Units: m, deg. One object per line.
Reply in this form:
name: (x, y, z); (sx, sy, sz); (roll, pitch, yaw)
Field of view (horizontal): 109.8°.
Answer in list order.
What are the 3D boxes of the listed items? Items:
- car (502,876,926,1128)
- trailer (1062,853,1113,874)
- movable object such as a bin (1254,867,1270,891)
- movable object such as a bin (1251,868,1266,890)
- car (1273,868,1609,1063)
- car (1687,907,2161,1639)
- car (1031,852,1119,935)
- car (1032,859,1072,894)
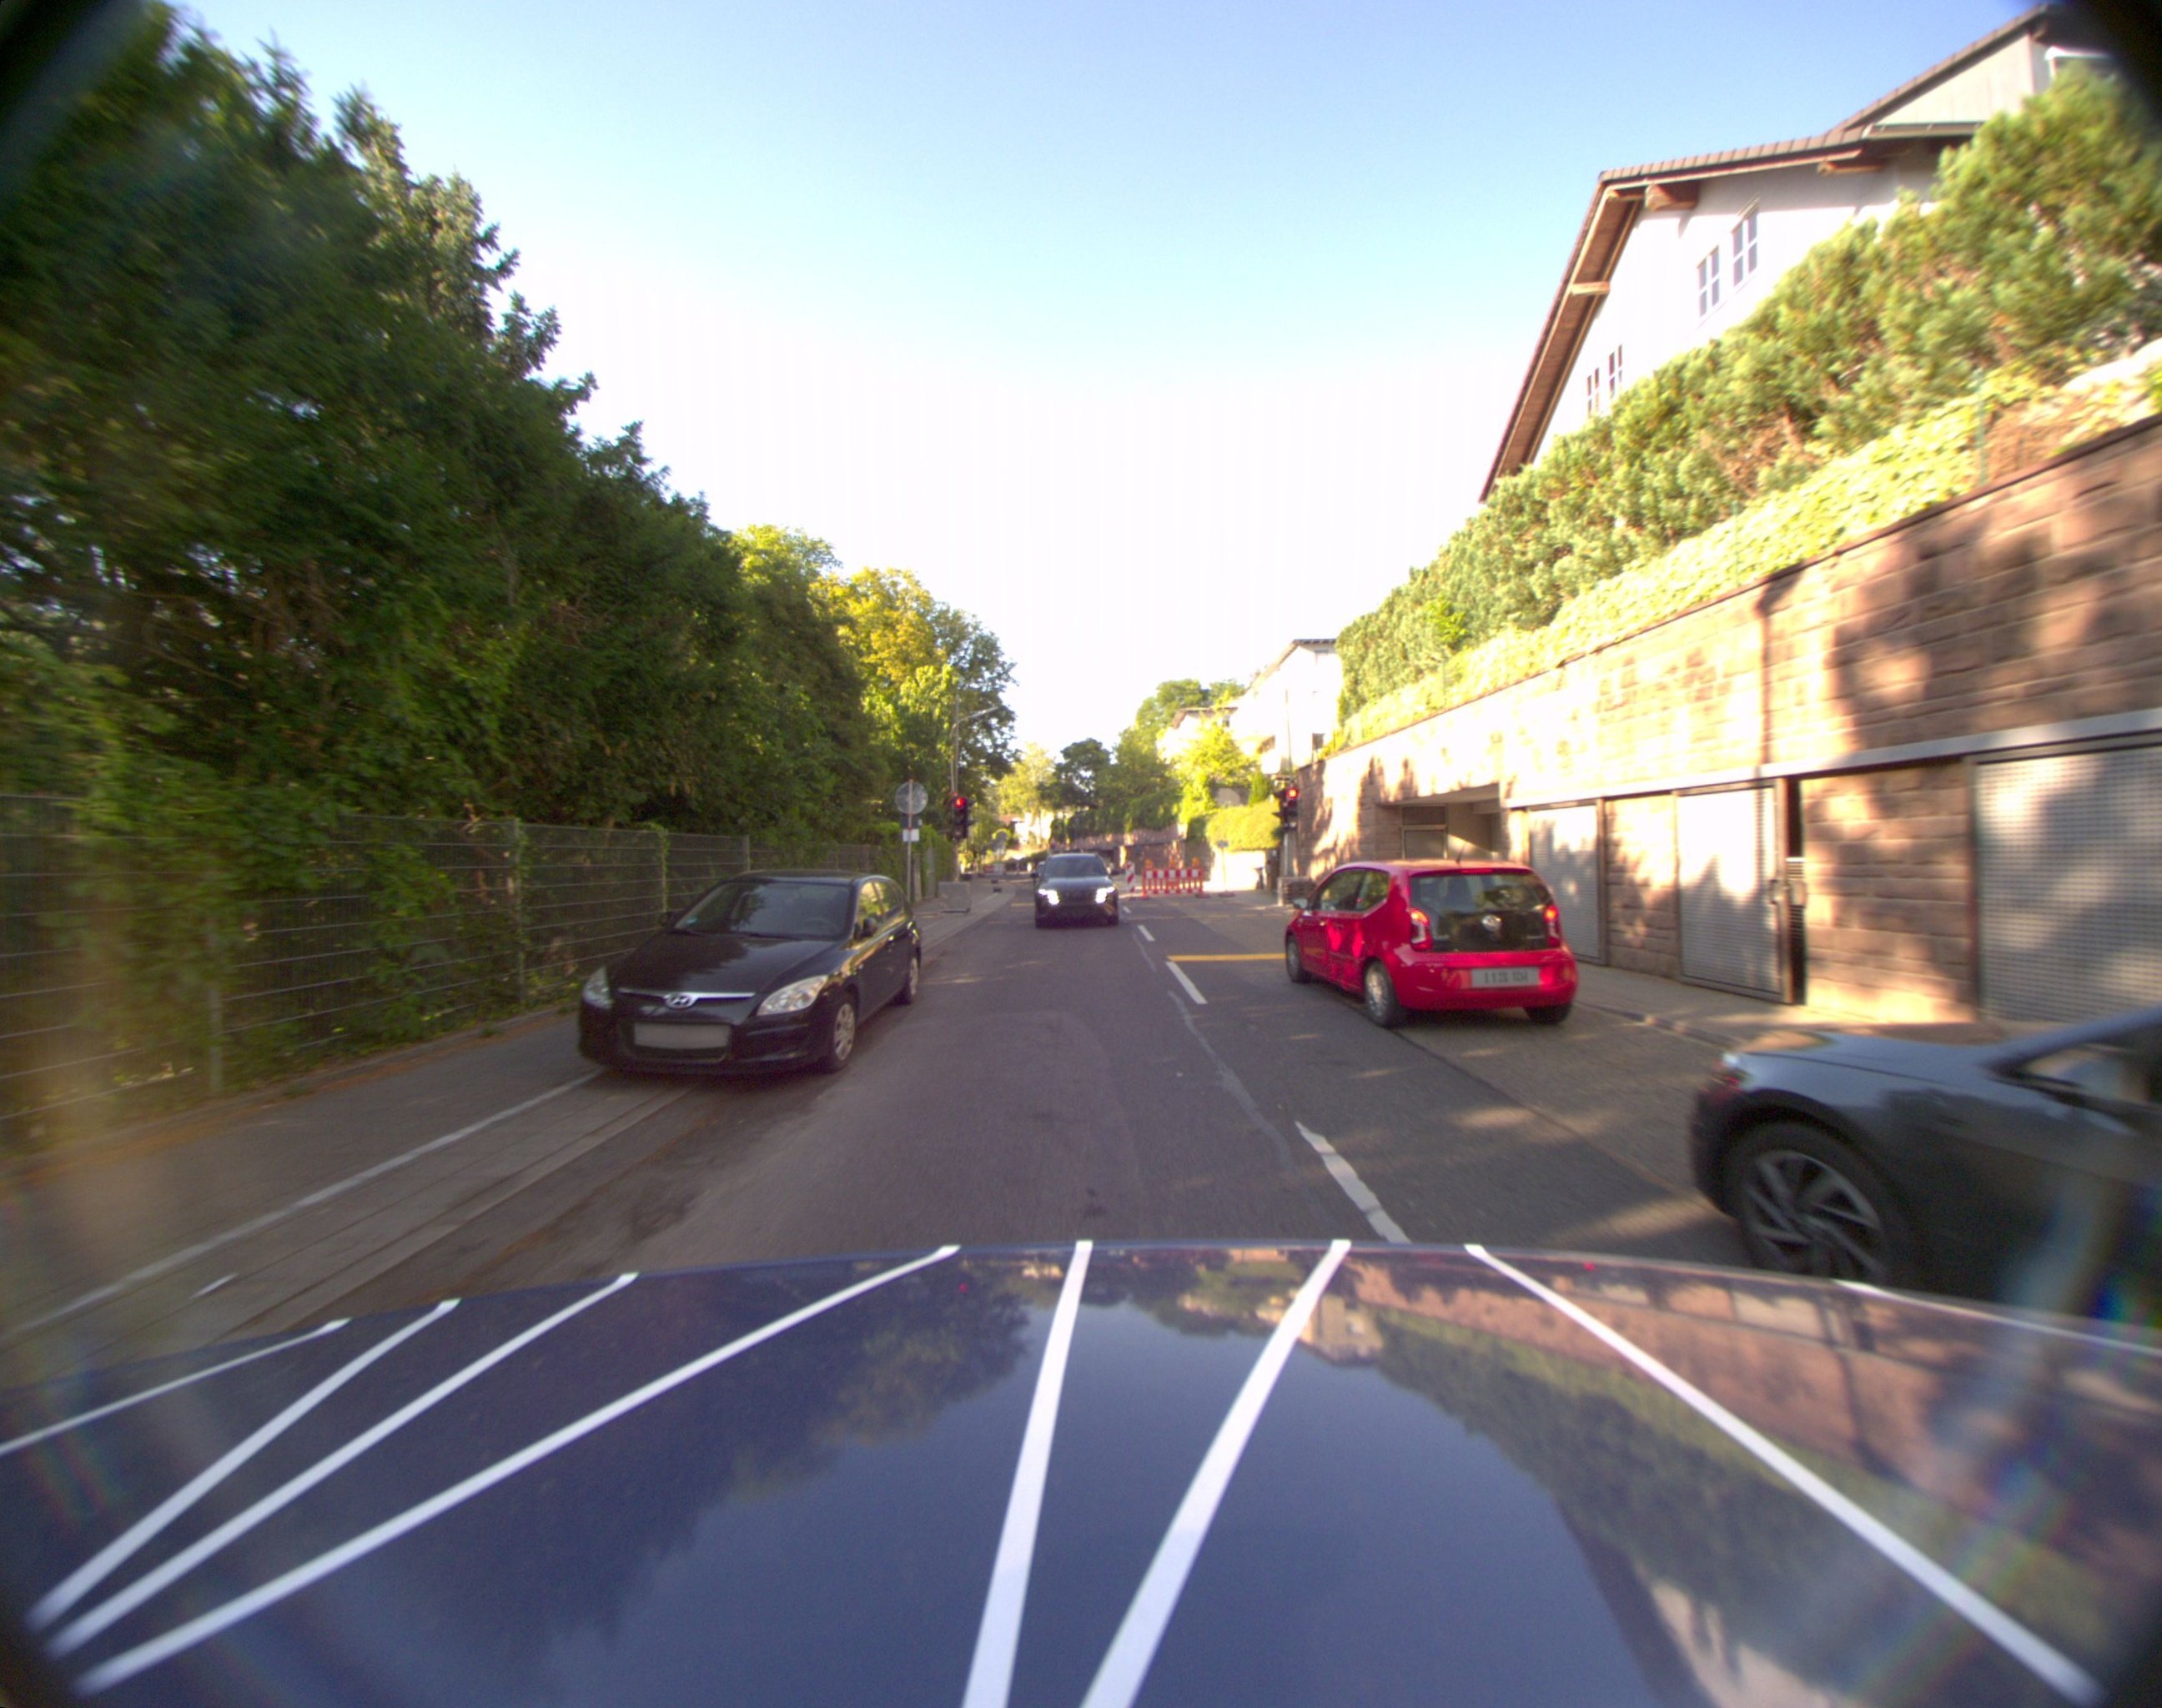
car: (-2.705, 0.988, 6.760); (1.799, 1.432, 4.000); (-1, 0, 0)
trailer: (0.410, 0.747, 61.011); (2.649, 1.481, 7.111); (-3, 0, -11)
movable object such as a bin: (6.964, 0.950, 29.259); (0.457, 0.879, 0.500); (-3, 0, -1)
movable object such as a bin: (6.959, 0.985, 29.748); (0.455, 0.829, 0.392); (-2, 0, -2)
car: (3.258, 0.899, 7.693); (1.631, 1.413, 3.562); (-1, 0, -2)
car: (3.058, 0.913, 0.820); (1.653, 1.403, 3.930); (-1, 0, -1)
car: (-0.206, 0.831, 18.326); (1.788, 1.639, 4.473); (-3, 1, -2)
car: (-1.421, 1.019, 35.784); (1.663, 1.468, 3.681); (-3, 0, -5)
